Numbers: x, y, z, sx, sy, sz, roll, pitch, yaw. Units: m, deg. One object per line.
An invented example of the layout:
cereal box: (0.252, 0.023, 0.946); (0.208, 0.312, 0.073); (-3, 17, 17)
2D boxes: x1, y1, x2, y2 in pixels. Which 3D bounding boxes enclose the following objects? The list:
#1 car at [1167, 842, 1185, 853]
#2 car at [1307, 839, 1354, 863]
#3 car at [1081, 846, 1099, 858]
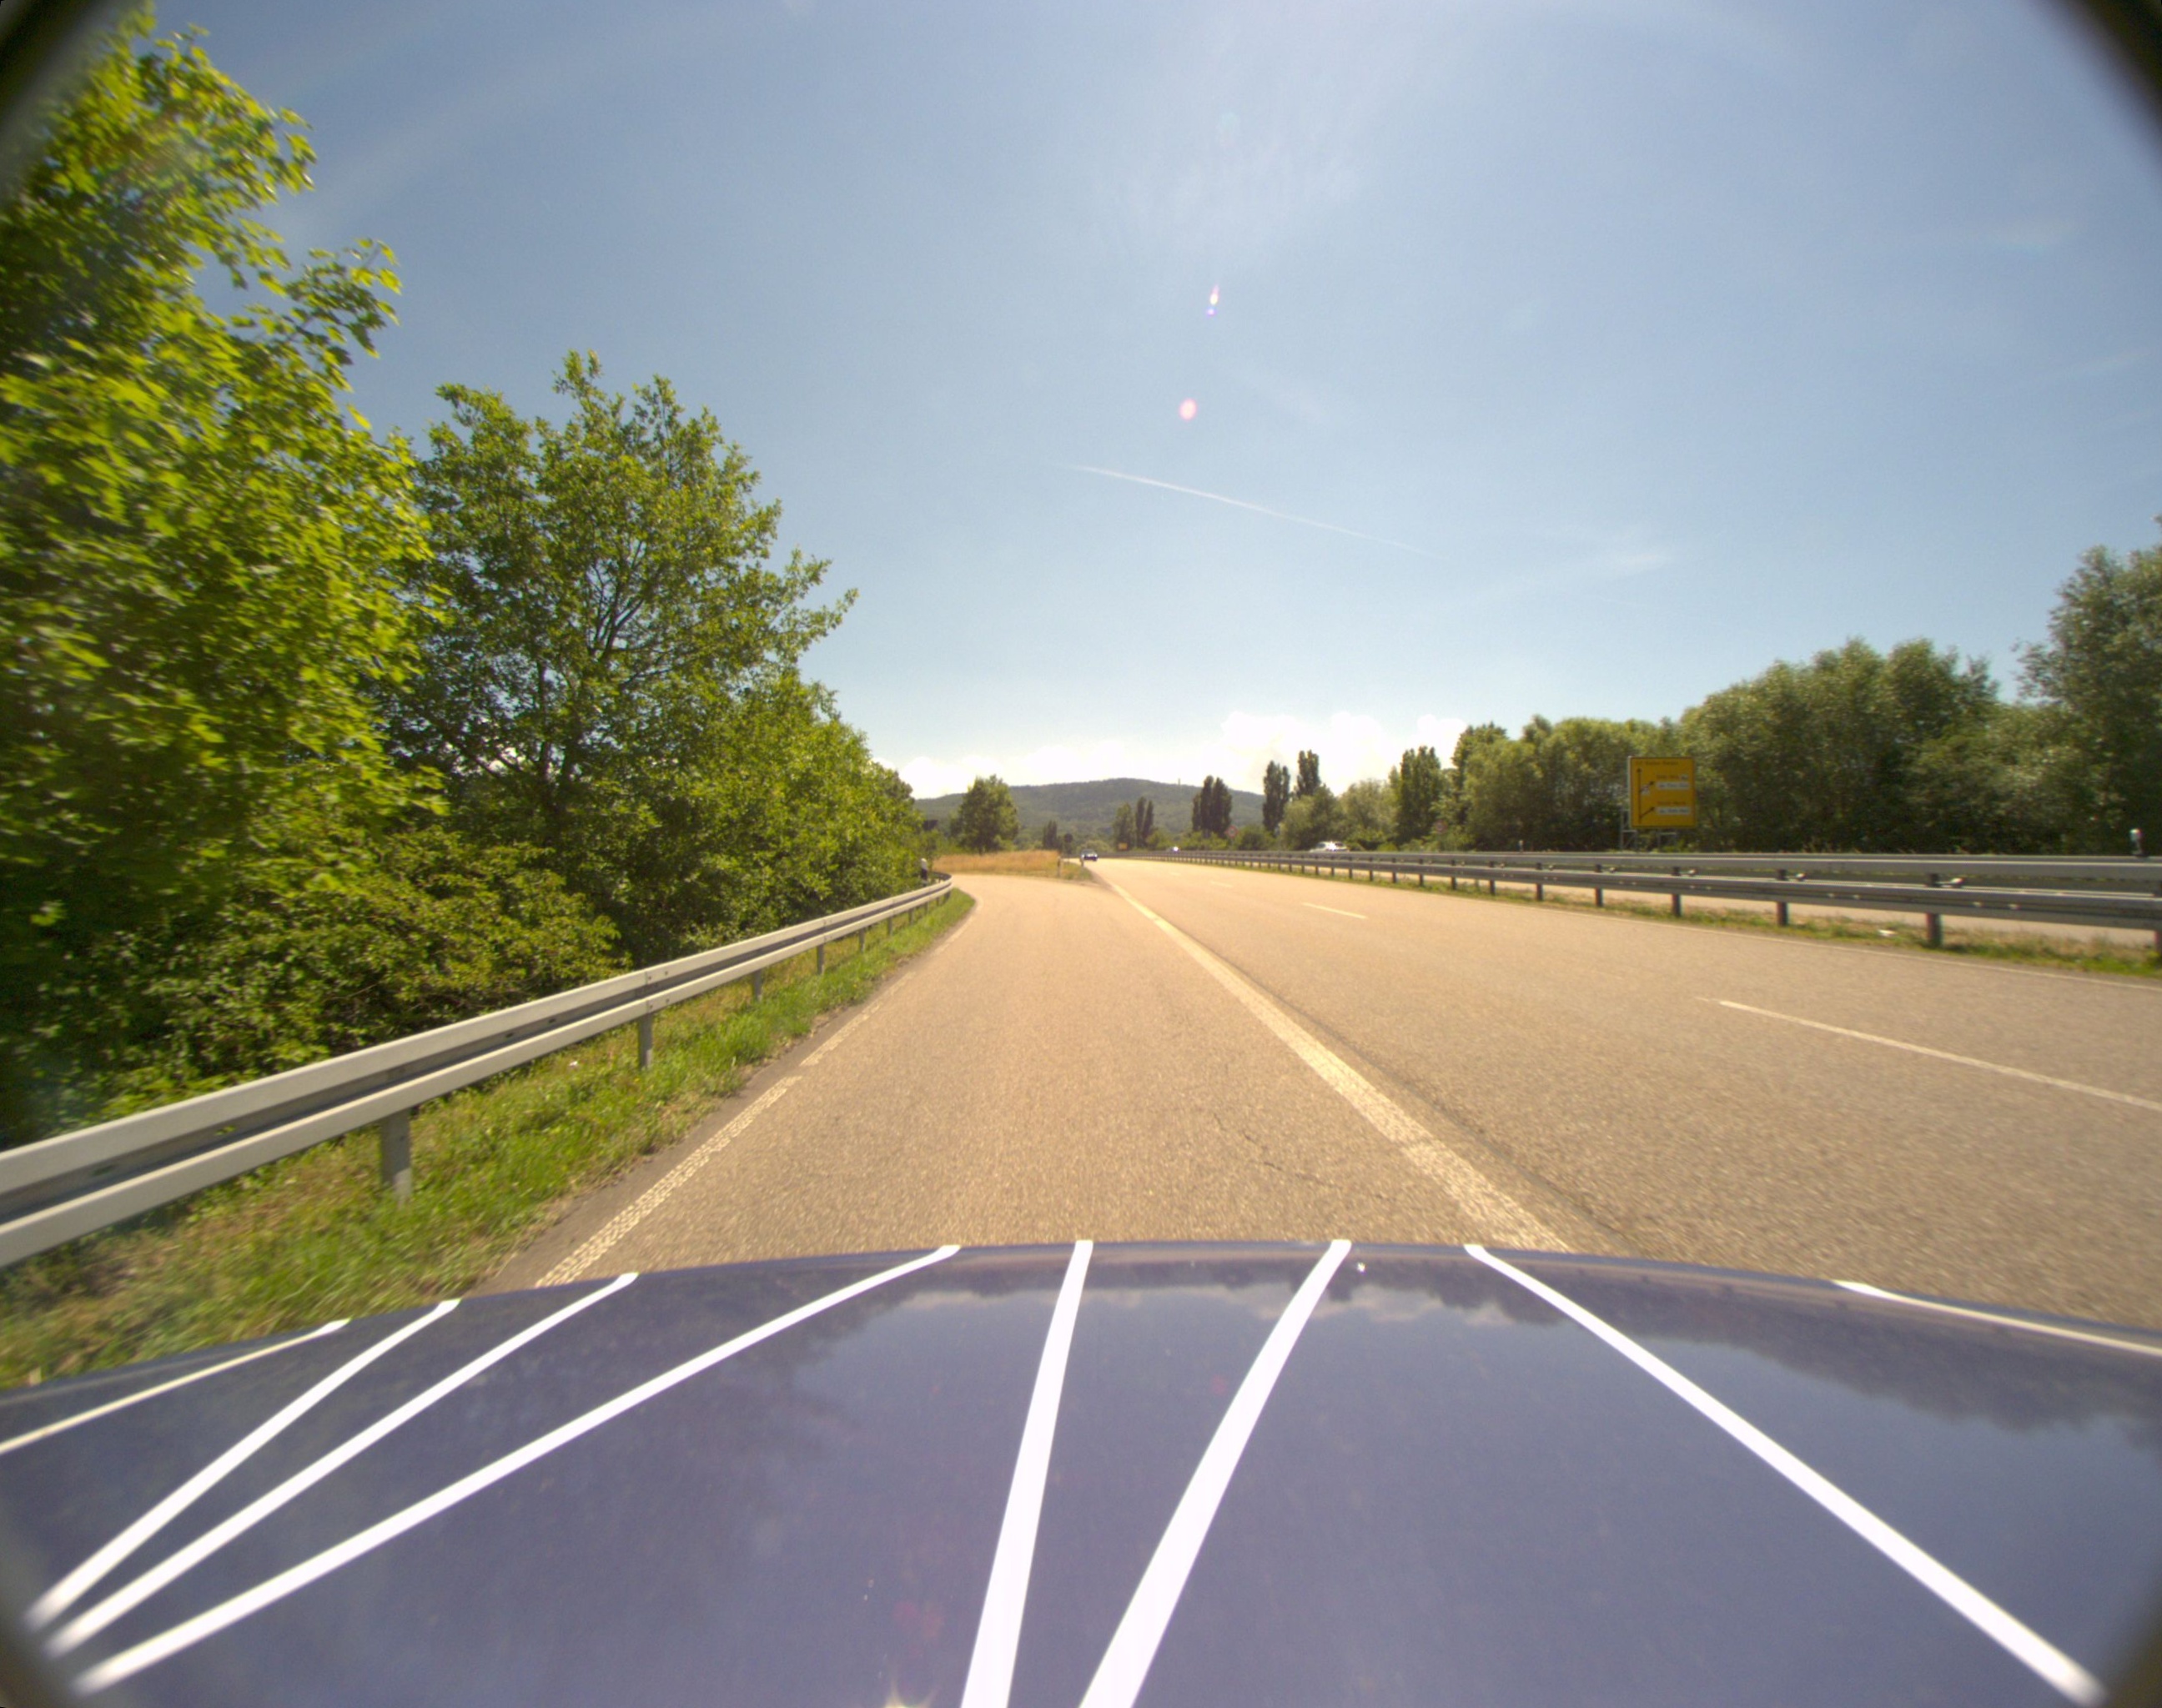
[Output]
car: (13.735, -0.965, 110.038); (1.786, 1.510, 3.702); (-2, 1, -3)
car: (16.982, -0.228, 51.878); (1.714, 1.495, 3.999); (-2, 1, -2)
car: (1.074, -0.286, 93.532); (1.909, 1.368, 3.889); (-2, 0, -3)
